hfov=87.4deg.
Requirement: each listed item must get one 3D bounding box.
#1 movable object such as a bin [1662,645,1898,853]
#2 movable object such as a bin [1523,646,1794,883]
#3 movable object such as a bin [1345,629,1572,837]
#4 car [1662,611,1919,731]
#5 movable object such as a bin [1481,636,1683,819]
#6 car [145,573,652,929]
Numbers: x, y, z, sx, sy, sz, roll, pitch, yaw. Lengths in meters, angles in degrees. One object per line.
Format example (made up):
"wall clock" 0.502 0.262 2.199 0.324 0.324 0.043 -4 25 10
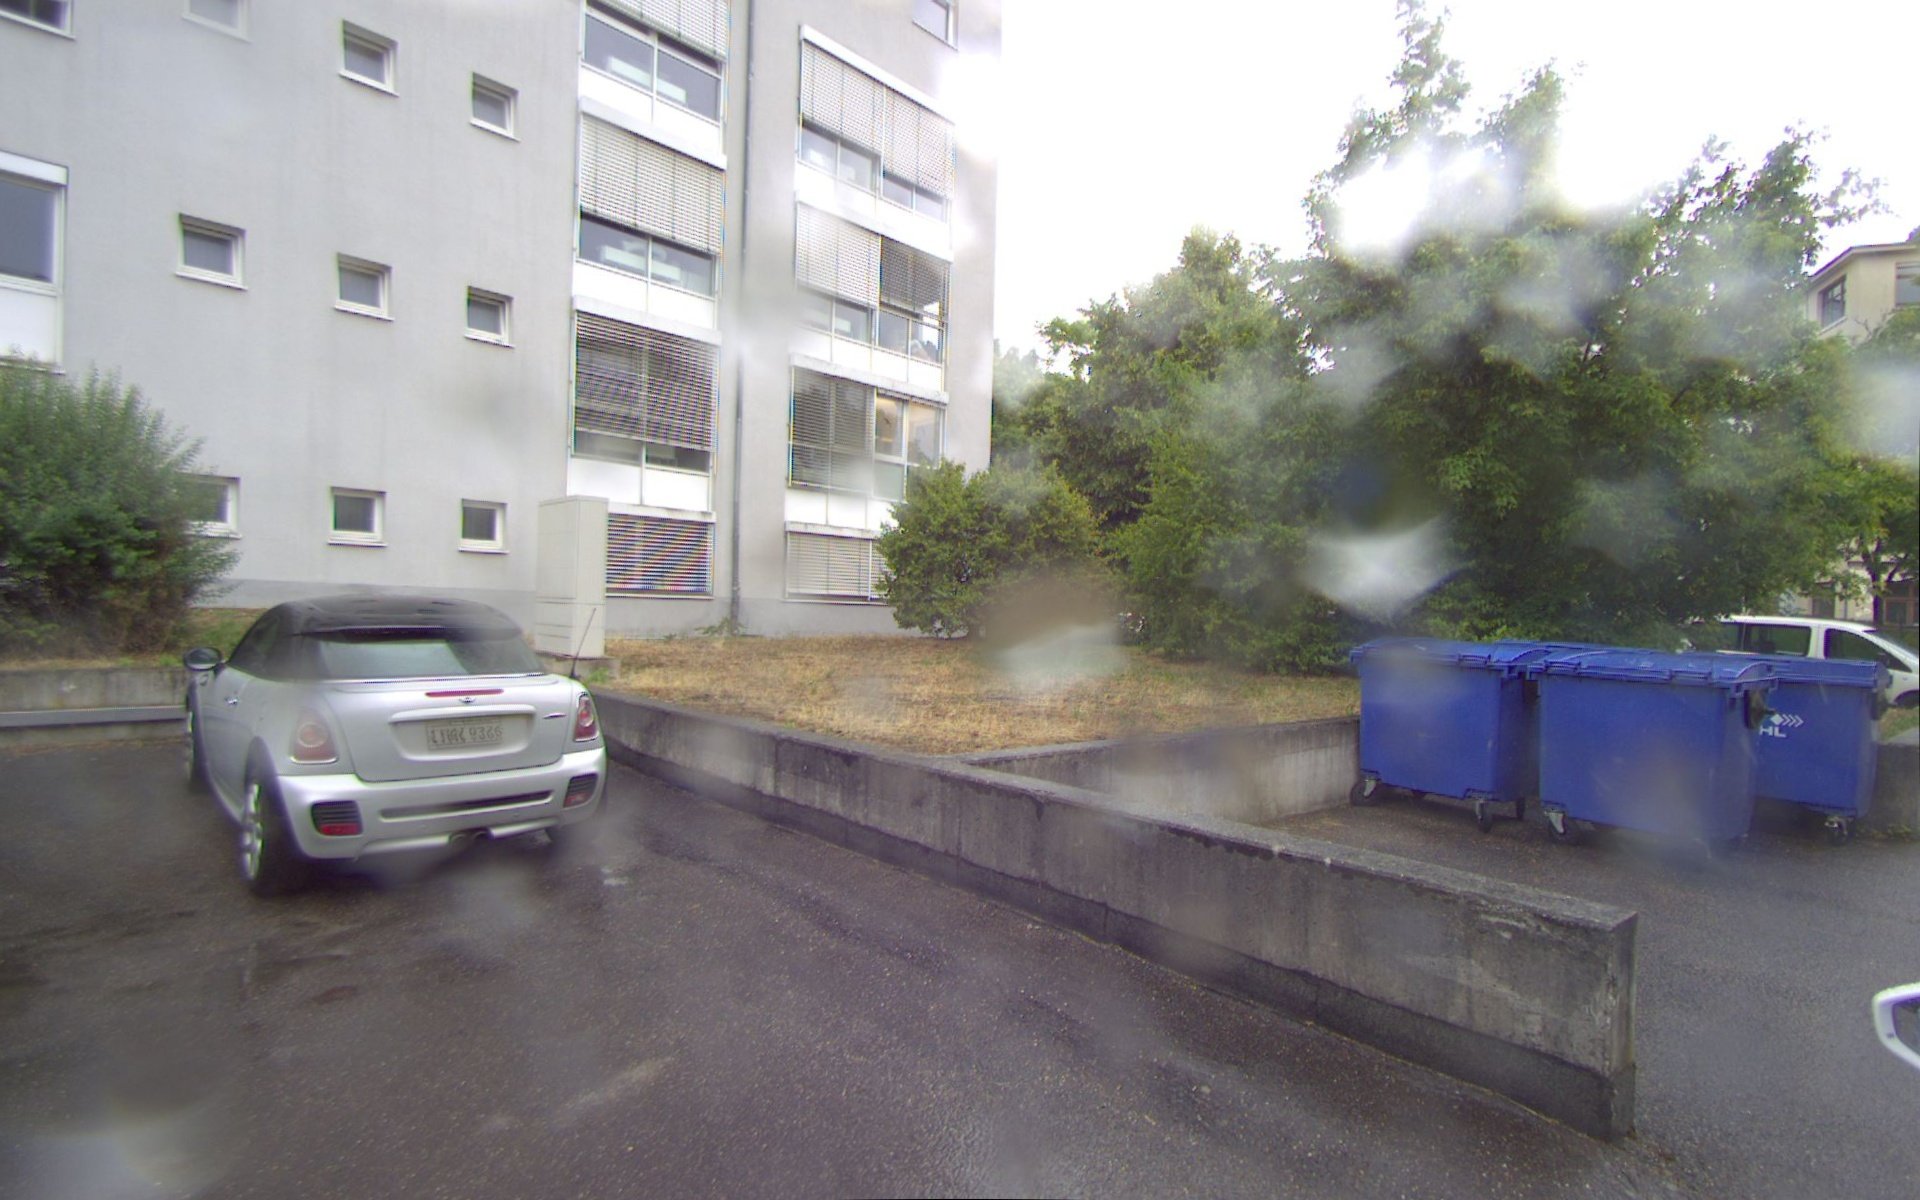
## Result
"movable object such as a bin" 6.242 1.057 7.669 0.998 1.355 1.211 1 0 -40
"movable object such as a bin" 4.714 1.024 6.808 1.106 1.355 1.194 2 0 -36
"movable object such as a bin" 3.856 0.950 7.798 1.107 1.355 1.192 0 3 -40
"car" 16.525 1.264 19.195 1.983 2.040 4.741 1 -1 -39
"movable object such as a bin" 5.310 1.021 8.598 0.998 1.355 1.211 1 1 -40
"car" -3.795 0.619 6.398 1.810 1.351 4.124 1 3 -44
